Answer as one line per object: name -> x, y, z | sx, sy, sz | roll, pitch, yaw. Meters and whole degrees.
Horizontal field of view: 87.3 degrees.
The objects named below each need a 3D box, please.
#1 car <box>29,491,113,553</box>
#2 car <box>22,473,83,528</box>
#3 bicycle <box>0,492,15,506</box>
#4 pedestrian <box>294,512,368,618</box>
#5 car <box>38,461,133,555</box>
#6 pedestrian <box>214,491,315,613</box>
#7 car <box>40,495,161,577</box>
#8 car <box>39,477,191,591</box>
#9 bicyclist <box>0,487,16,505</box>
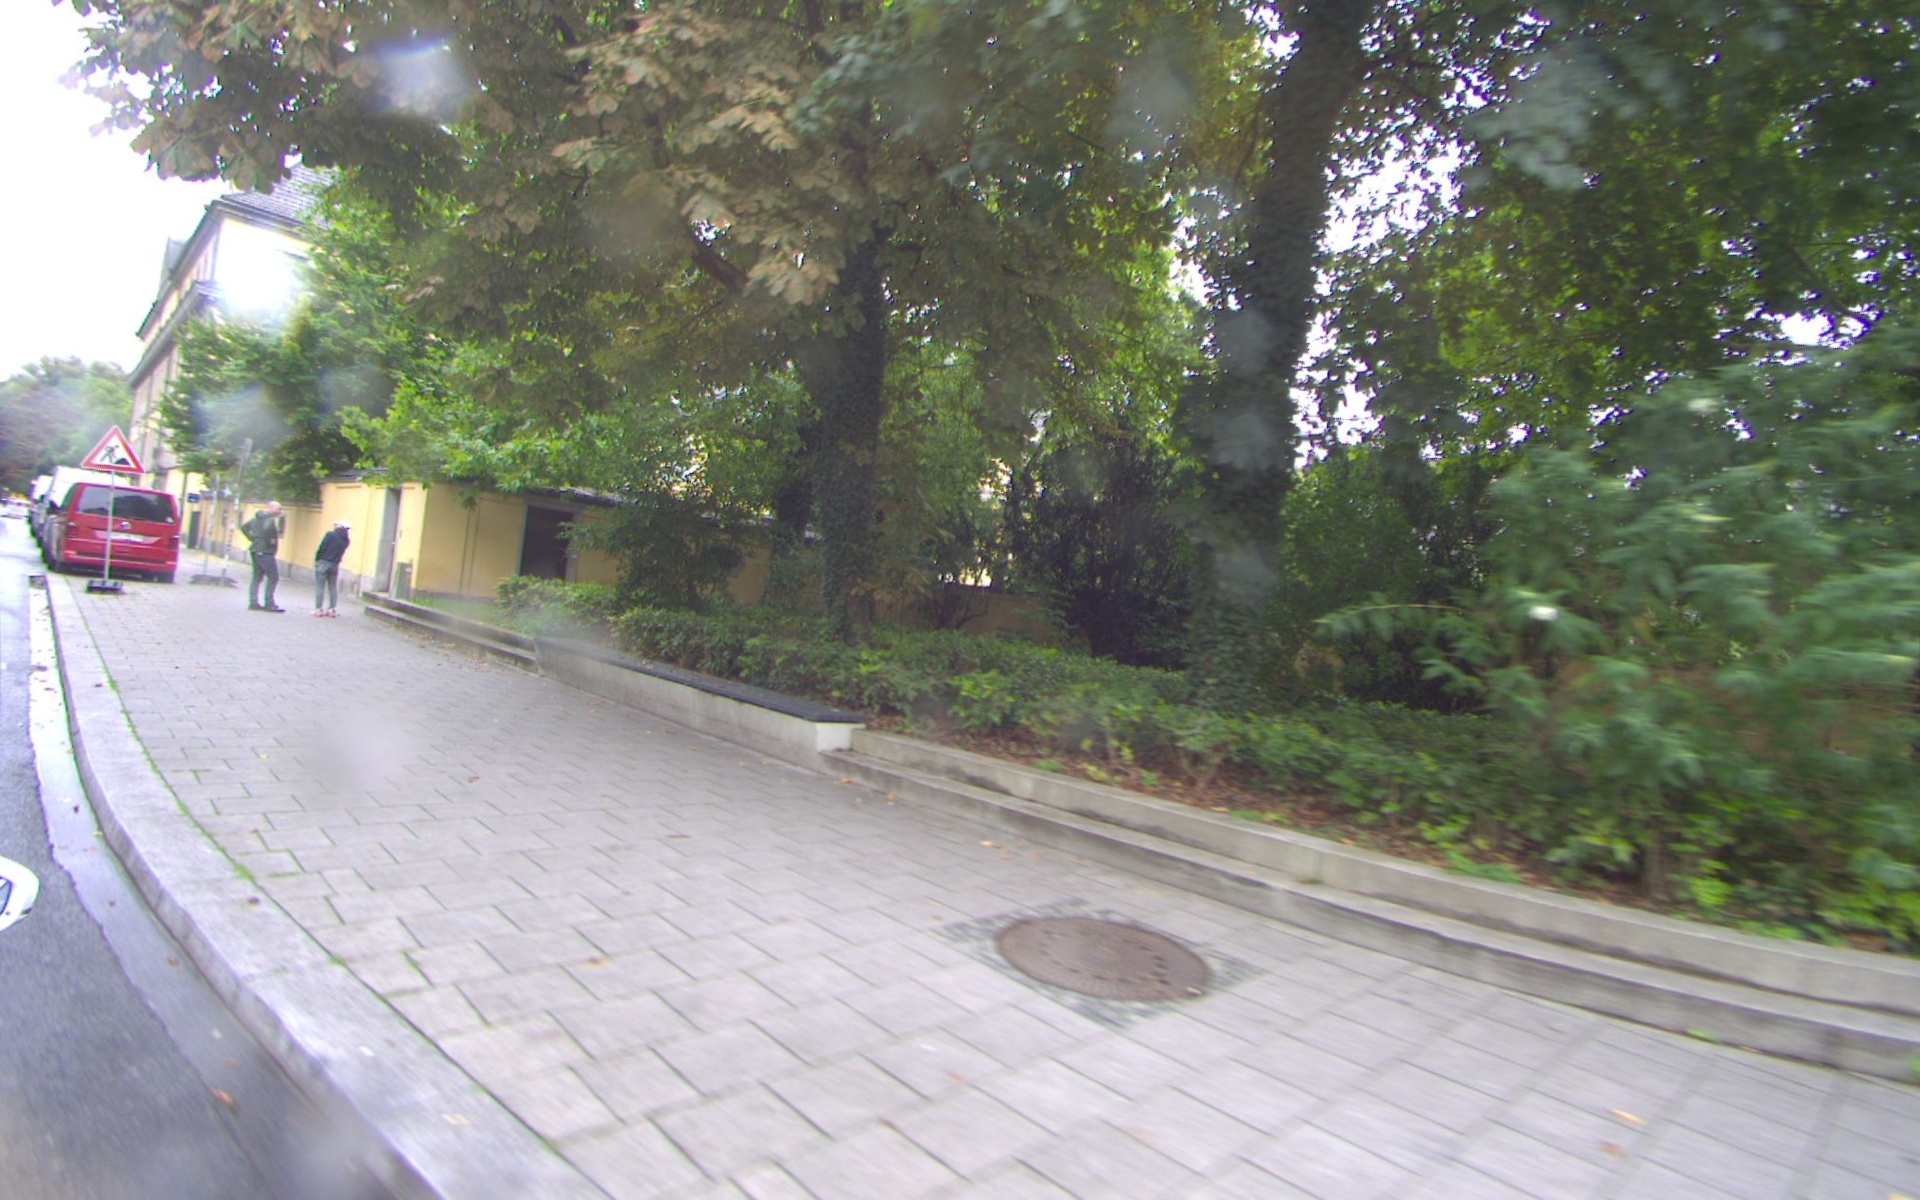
car -> -33.451, -2.945, 37.817 | 3.948, 1.905, 1.989 | 7, -1, 45
car -> -50.046, -5.484, 55.453 | 4.322, 2.654, 1.837 | 7, 0, 41
bicycle -> -94.597, -10.033, 99.916 | 1.018, 1.171, 2.455 | 7, 0, -43
pedestrian -> -10.619, -0.582, 16.989 | 0.685, 1.688, 0.635 | 7, 0, 24
car -> -28.701, -2.998, 32.941 | 1.987, 2.589, 5.364 | 7, 0, -43
pedestrian -> -11.522, -0.779, 16.679 | 0.934, 1.859, 0.822 | 7, 0, 19
car -> -21.926, -1.659, 25.586 | 1.988, 1.654, 4.507 | 7, -1, -44
car -> -18.179, -1.460, 21.553 | 4.905, 1.960, 1.907 | 7, -1, 45
bicyclist -> -94.417, -10.334, 99.784 | 1.018, 1.564, 1.242 | 7, 0, -43
